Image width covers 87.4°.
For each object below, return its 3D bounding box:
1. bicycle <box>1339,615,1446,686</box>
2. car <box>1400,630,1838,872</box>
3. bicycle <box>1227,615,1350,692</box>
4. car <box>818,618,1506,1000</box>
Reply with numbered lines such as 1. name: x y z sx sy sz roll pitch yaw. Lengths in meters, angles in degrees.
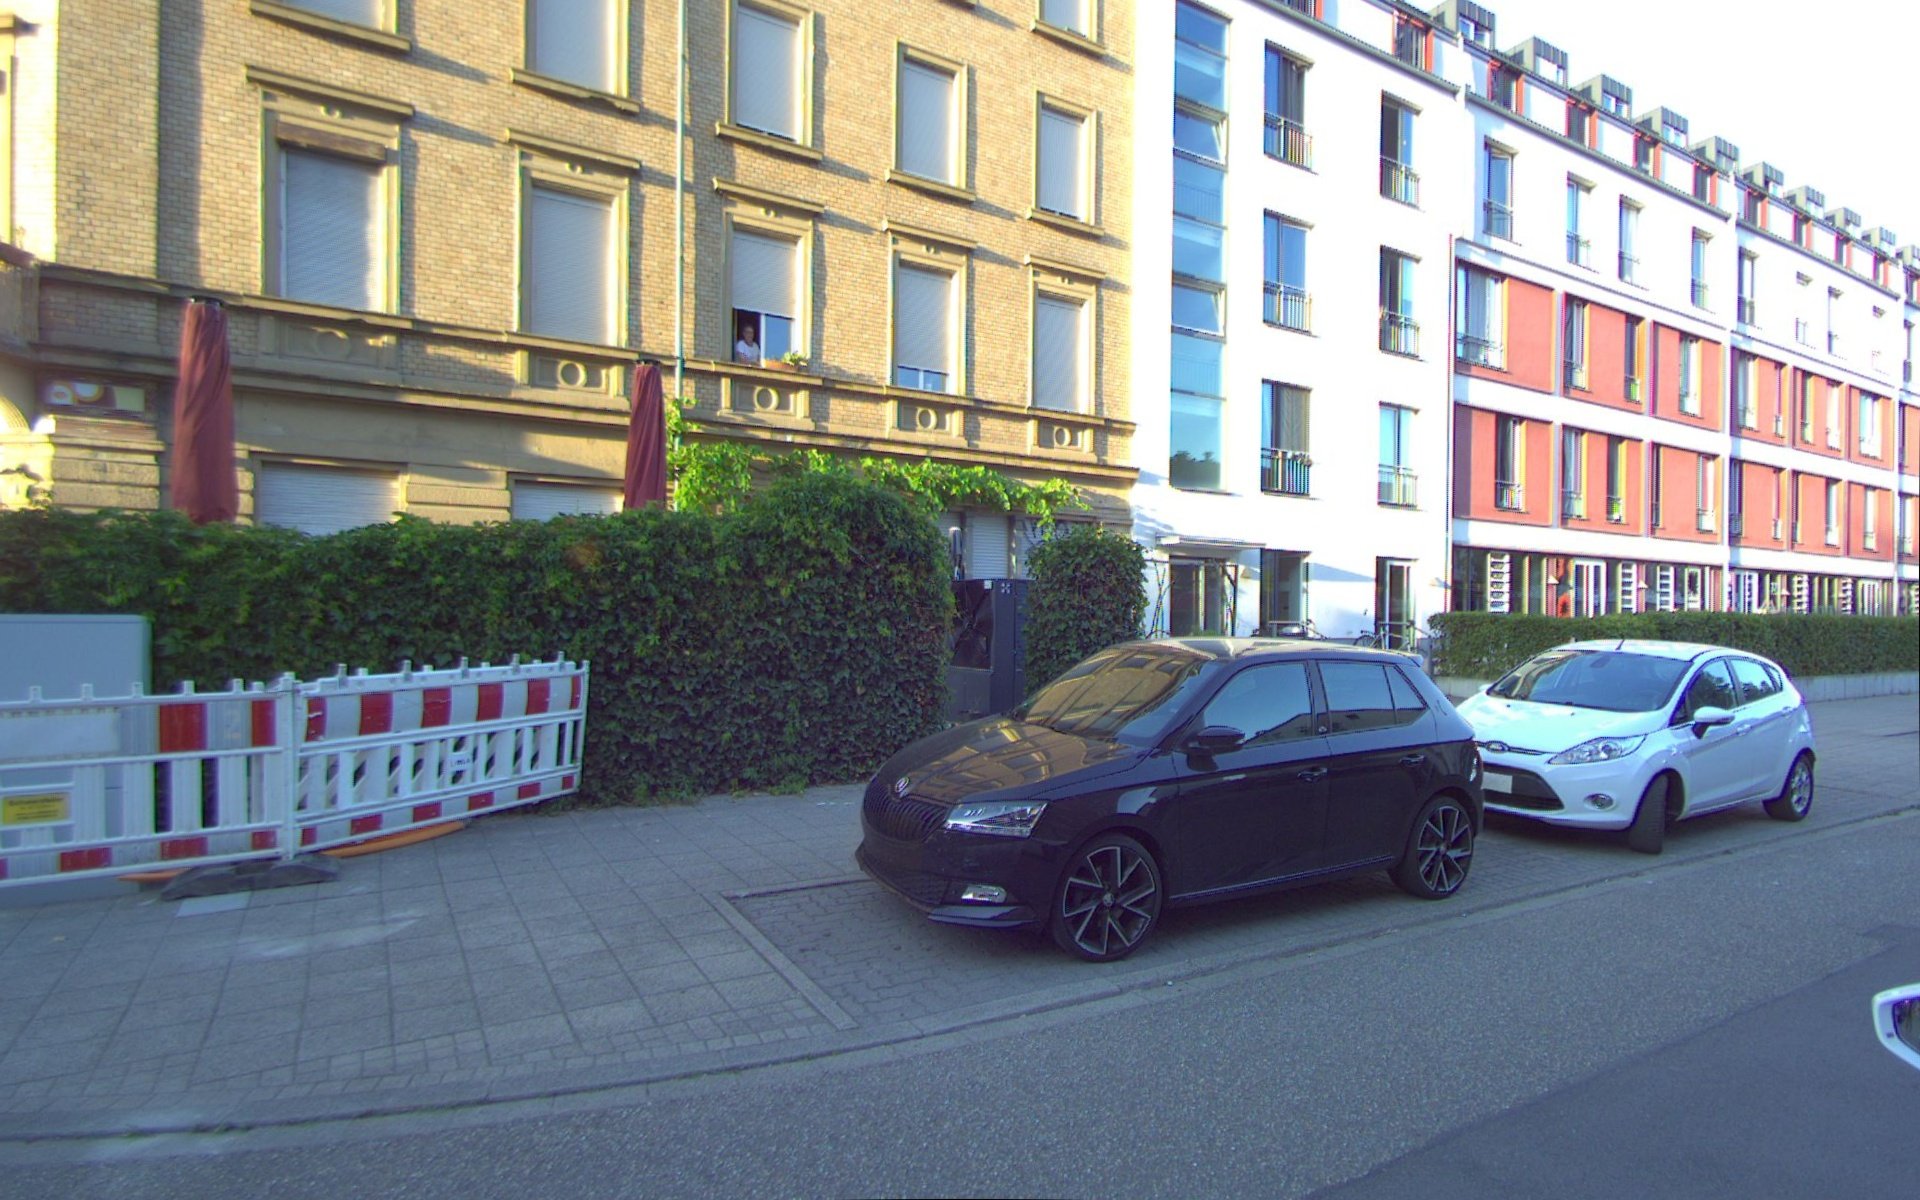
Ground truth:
1. bicycle: 7.781 0.888 18.159 0.602 1.163 1.768 1 1 -27
2. car: 5.615 1.053 8.423 3.975 1.550 1.641 1 0 -34
3. bicycle: 5.498 0.866 16.931 0.802 1.157 1.907 1 1 -29
4. car: 1.266 0.917 5.881 3.799 1.554 1.695 1 0 -31
